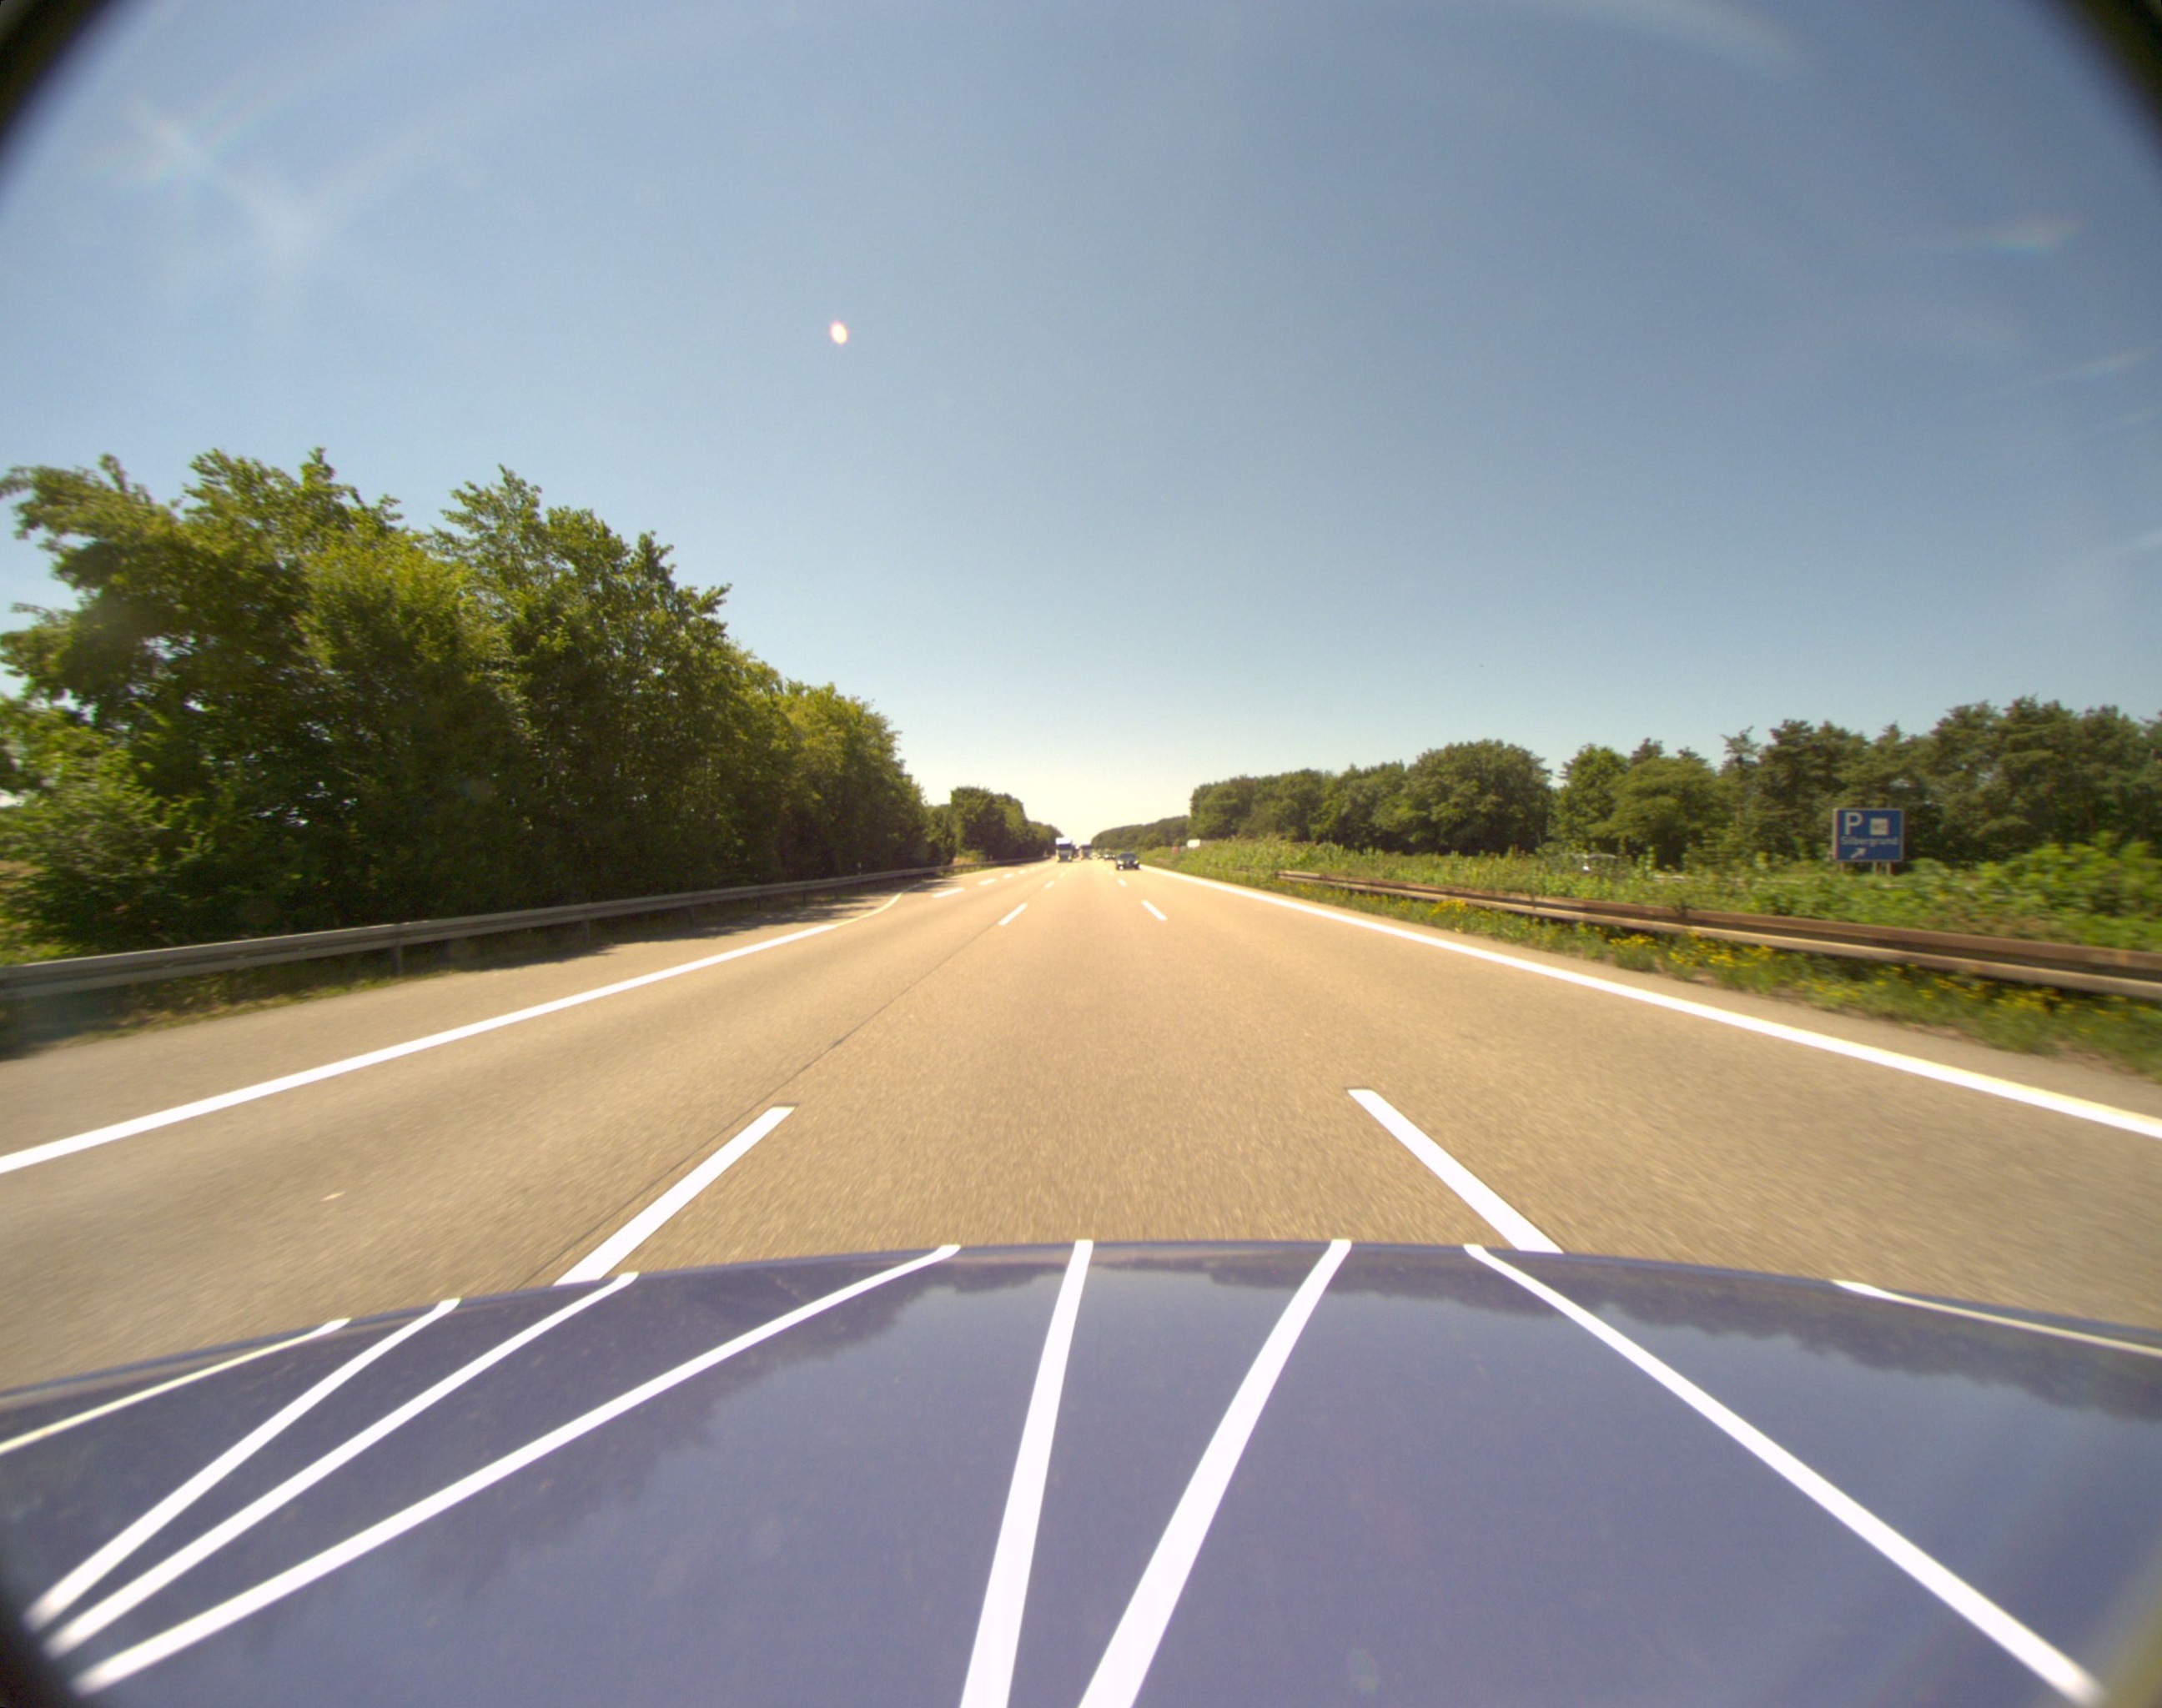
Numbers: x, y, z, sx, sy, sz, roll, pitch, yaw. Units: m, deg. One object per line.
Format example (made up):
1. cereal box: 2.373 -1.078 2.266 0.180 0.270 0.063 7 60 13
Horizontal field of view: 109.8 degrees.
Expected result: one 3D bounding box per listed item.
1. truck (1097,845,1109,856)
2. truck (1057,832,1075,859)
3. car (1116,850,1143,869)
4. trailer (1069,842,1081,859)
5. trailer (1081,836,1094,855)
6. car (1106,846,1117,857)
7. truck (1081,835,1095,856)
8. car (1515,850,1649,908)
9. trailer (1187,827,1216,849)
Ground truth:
1. truck: 5.317 -0.883 181.920 2.576 2.461 5.614 -2 1 0
2. truck: -2.482 -1.436 128.394 2.864 4.247 6.862 -2 1 -1
3. car: 4.017 0.471 63.474 1.811 1.399 4.000 -3 -1 -1
4. trailer: -1.576 -0.947 200.096 2.864 4.247 11.469 -2 1 -1
5. trailer: 1.439 -1.884 173.166 2.863 4.247 11.470 -2 0 0
6. car: 5.206 -0.426 130.883 1.806 1.774 3.999 -1 1 0
7. truck: 1.451 -1.837 166.408 2.863 4.247 5.410 -2 1 0
8. car: 16.532 0.759 25.340 1.879 1.768 4.000 0 1 1
9. trailer: 21.990 -2.817 139.581 3.187 3.677 14.381 -2 0 1
